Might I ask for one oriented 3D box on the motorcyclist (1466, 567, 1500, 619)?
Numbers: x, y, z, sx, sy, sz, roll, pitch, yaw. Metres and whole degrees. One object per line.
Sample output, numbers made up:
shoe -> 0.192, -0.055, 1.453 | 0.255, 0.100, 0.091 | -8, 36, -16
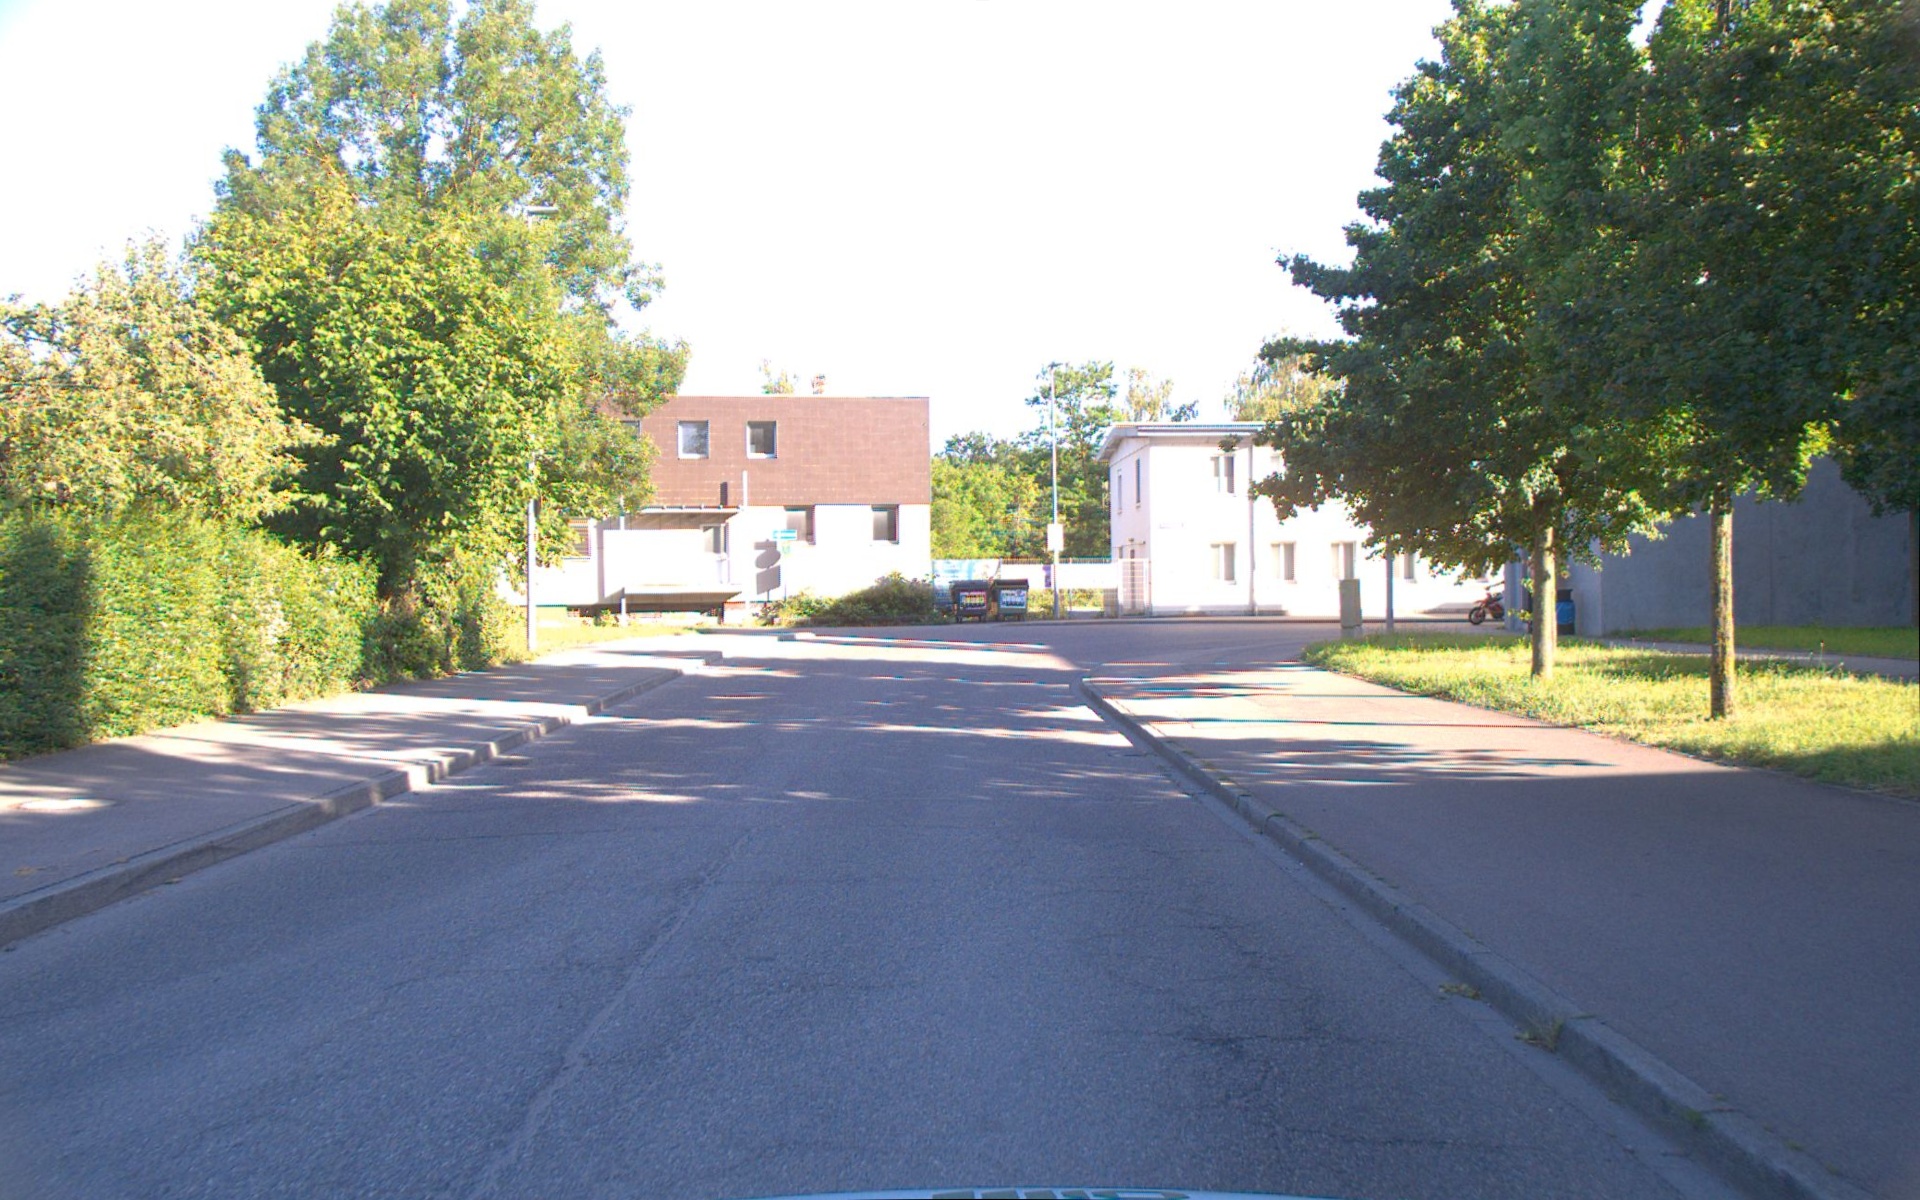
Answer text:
motorcyclist -> 16.782, -0.223, 53.111 | 0.876, 1.580, 1.032 | -2, 4, 10

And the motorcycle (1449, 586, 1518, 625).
motorcycle -> 16.799, 0.166, 53.106 | 1.986, 1.206, 0.963 | 0, 1, 10

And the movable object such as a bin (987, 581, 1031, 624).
movable object such as a bin -> 1.667, 0.082, 56.691 | 1.339, 1.443, 1.064 | 1, 0, -8

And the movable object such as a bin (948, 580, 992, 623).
movable object such as a bin -> 0.327, 0.060, 56.326 | 1.339, 1.443, 1.064 | 1, 0, -8
